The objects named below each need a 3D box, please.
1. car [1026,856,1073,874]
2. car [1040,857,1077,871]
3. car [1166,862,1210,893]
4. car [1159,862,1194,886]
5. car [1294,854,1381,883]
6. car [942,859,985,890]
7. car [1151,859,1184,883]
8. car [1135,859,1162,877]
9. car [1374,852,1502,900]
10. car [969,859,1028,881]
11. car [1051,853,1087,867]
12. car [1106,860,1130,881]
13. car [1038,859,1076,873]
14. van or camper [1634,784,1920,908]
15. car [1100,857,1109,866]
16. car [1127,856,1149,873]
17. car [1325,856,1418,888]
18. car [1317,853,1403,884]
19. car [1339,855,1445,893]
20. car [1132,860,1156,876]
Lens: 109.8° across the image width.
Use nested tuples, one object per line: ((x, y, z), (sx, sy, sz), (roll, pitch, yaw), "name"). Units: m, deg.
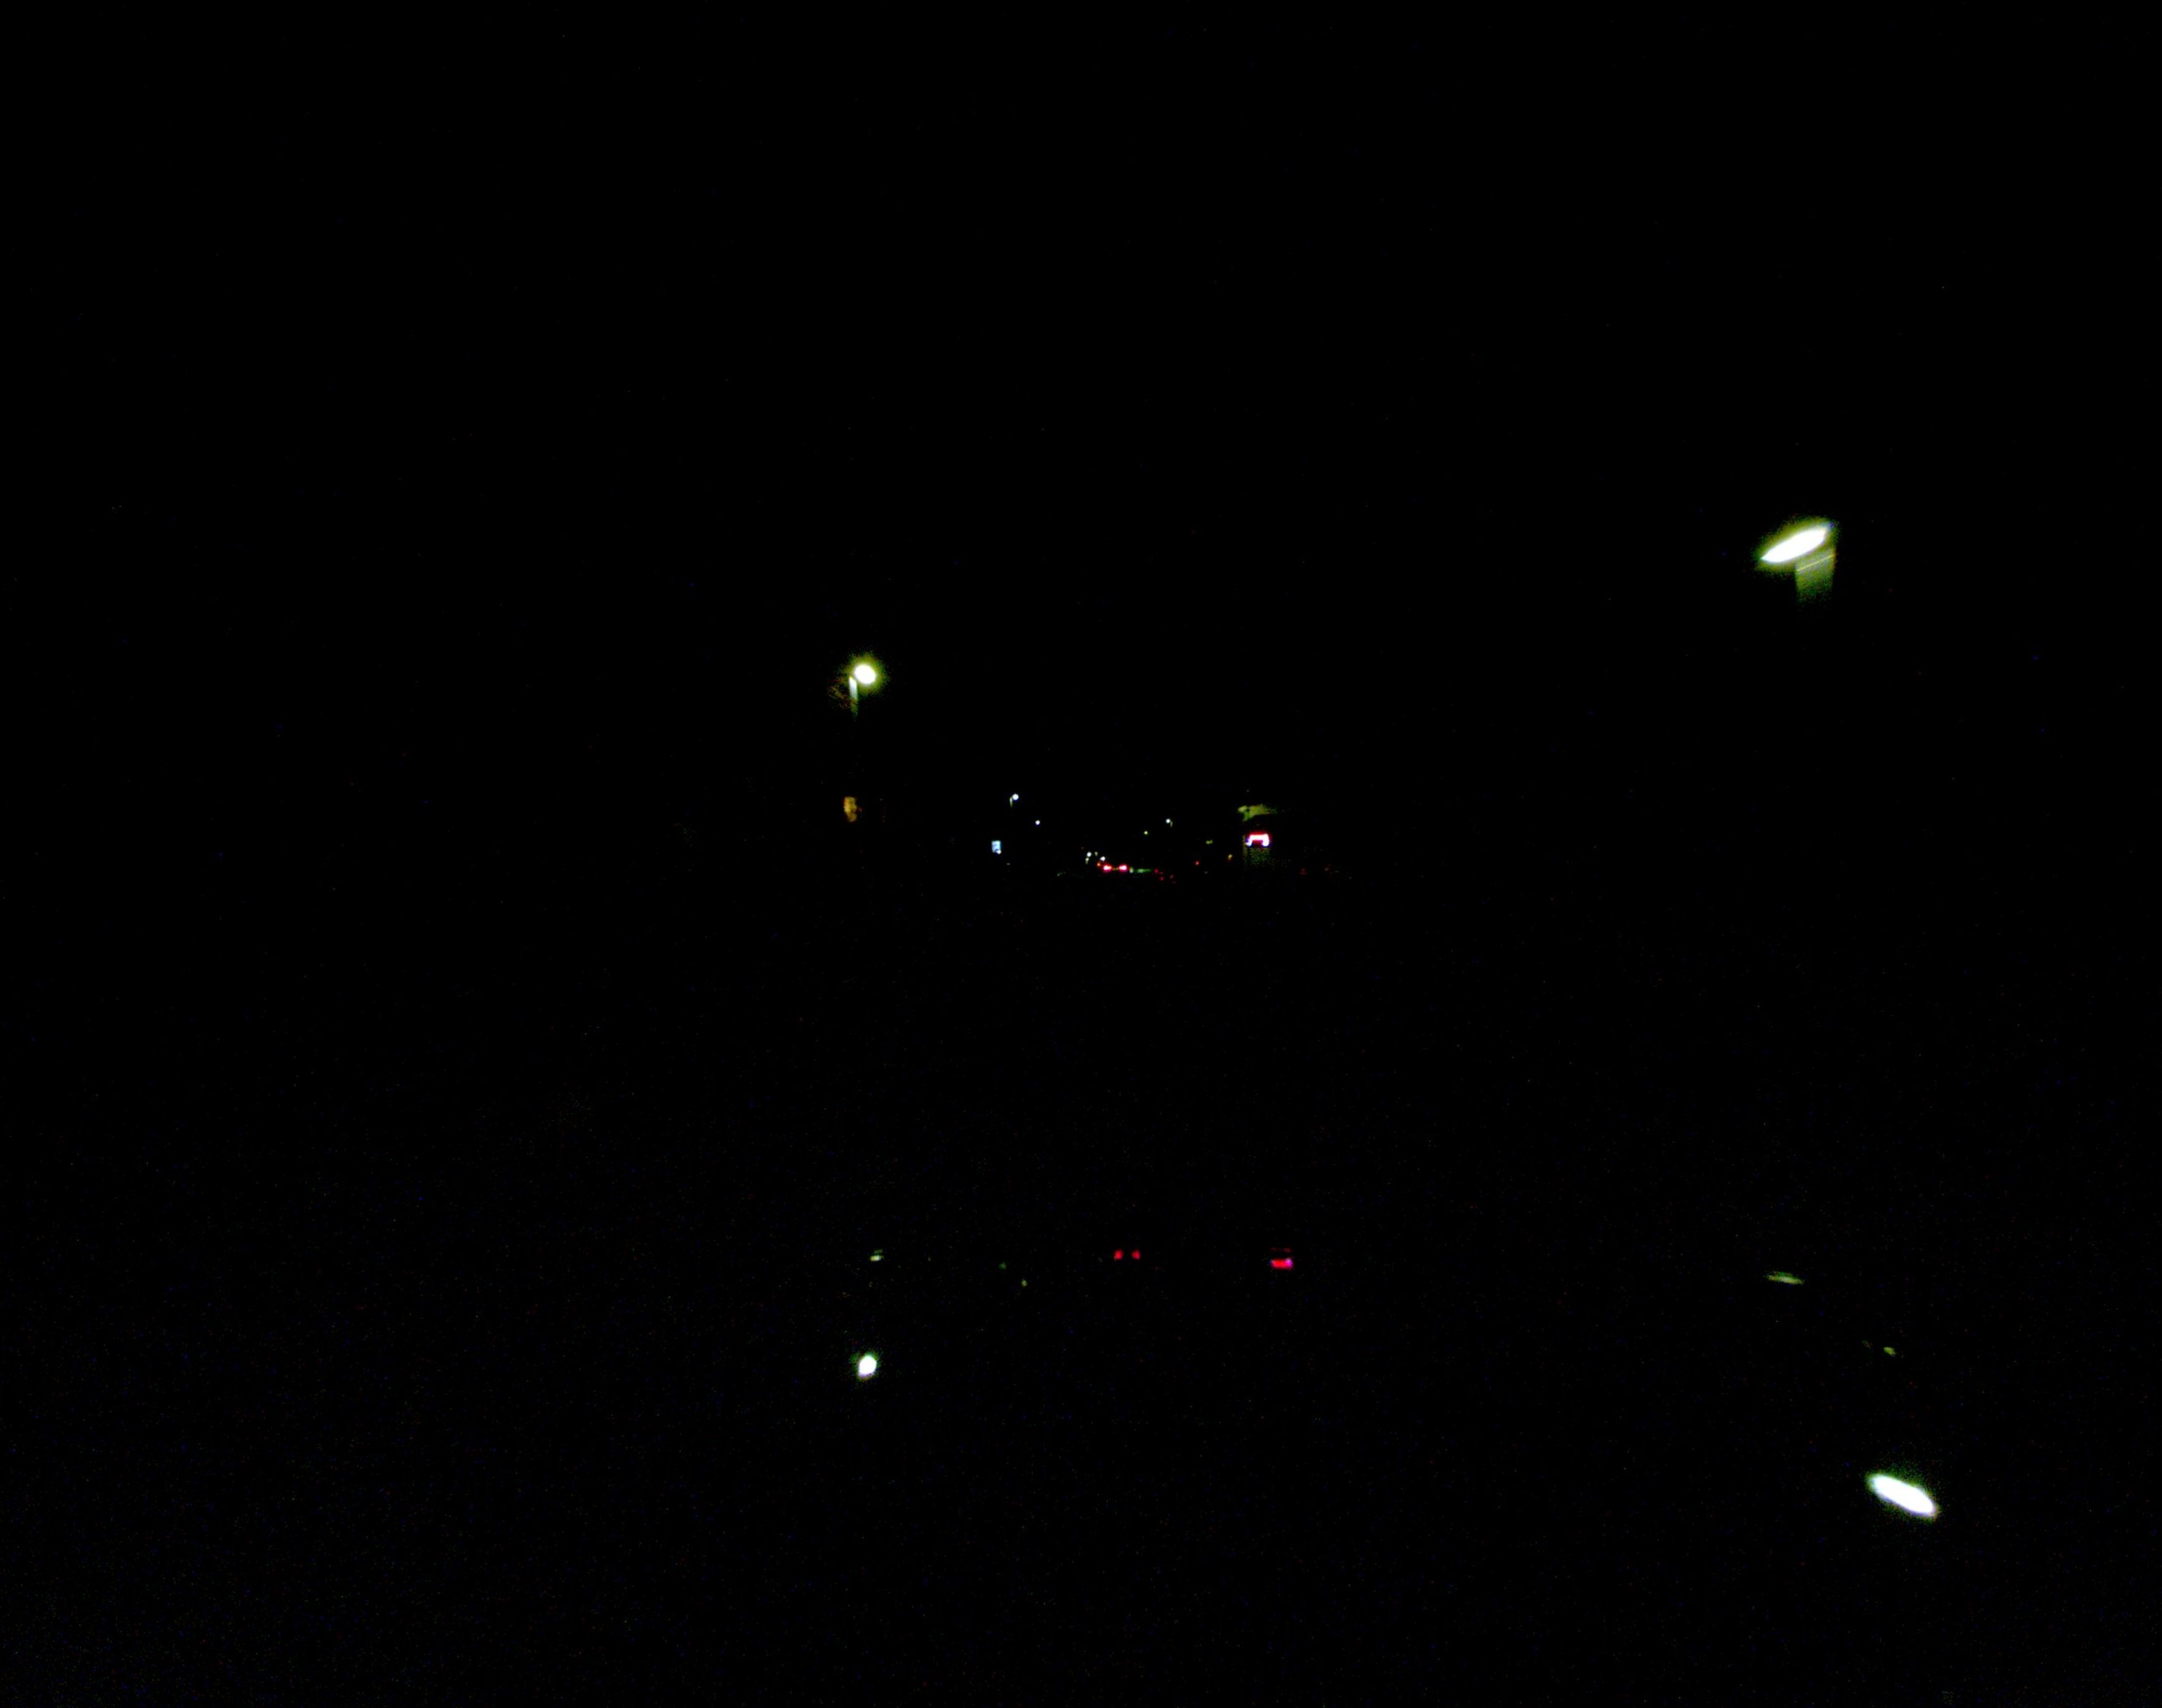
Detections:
((-3.101, 1.072, 75.066), (4.363, 1.805, 2.032), (0, 0, 7), "car")
((-2.531, 1.153, 86.490), (3.924, 1.542, 1.988), (0, 0, 5), "car")
((5.613, 1.203, 40.280), (1.754, 1.460, 4.009), (-2, 0, 0), "car")
((6.307, 1.297, 50.592), (1.775, 1.460, 3.966), (-1, 0, 0), "car")
((14.903, 0.827, 44.243), (4.325, 1.552, 2.028), (-1, 0, -6), "car")
((-6.108, 1.029, 39.776), (1.643, 1.551, 3.678), (0, 0, 0), "car")
((6.311, 1.211, 55.852), (1.933, 1.627, 4.471), (-2, 0, 0), "car")
((6.801, 1.410, 76.851), (2.121, 1.539, 4.475), (-5, 1, -1), "car")
((13.634, 0.816, 29.154), (3.999, 1.693, 1.947), (2, 0, -6), "car")
((-5.771, 1.127, 53.333), (3.914, 1.477, 1.832), (1, 0, 1), "car")
((-1.733, 0.841, 110.681), (5.156, 2.084, 2.260), (0, 0, 0), "car")
((3.153, 1.399, 65.879), (2.008, 1.737, 4.559), (-1, 0, 2), "car")
((-2.503, 1.266, 80.340), (3.926, 1.505, 1.854), (0, 1, 0), "car")
((17.808, -0.182, 20.056), (2.080, 2.731, 5.929), (-2, 0, 0), "van or camper")
((4.856, 1.602, 158.723), (1.724, 1.705, 3.960), (-2, 0, -2), "car")
((6.607, 1.204, 88.847), (2.121, 1.935, 4.888), (-2, 0, -1), "car")
((14.715, 0.899, 38.671), (3.996, 1.455, 2.000), (-2, 0, 2), "car")
((15.299, 0.803, 41.826), (3.995, 1.608, 2.001), (-1, 0, 4), "car")
((14.509, 0.909, 35.656), (4.125, 1.652, 2.000), (1, 0, 2), "car")
((6.805, 1.508, 82.195), (2.121, 1.660, 4.169), (-2, 0, -1), "car")
